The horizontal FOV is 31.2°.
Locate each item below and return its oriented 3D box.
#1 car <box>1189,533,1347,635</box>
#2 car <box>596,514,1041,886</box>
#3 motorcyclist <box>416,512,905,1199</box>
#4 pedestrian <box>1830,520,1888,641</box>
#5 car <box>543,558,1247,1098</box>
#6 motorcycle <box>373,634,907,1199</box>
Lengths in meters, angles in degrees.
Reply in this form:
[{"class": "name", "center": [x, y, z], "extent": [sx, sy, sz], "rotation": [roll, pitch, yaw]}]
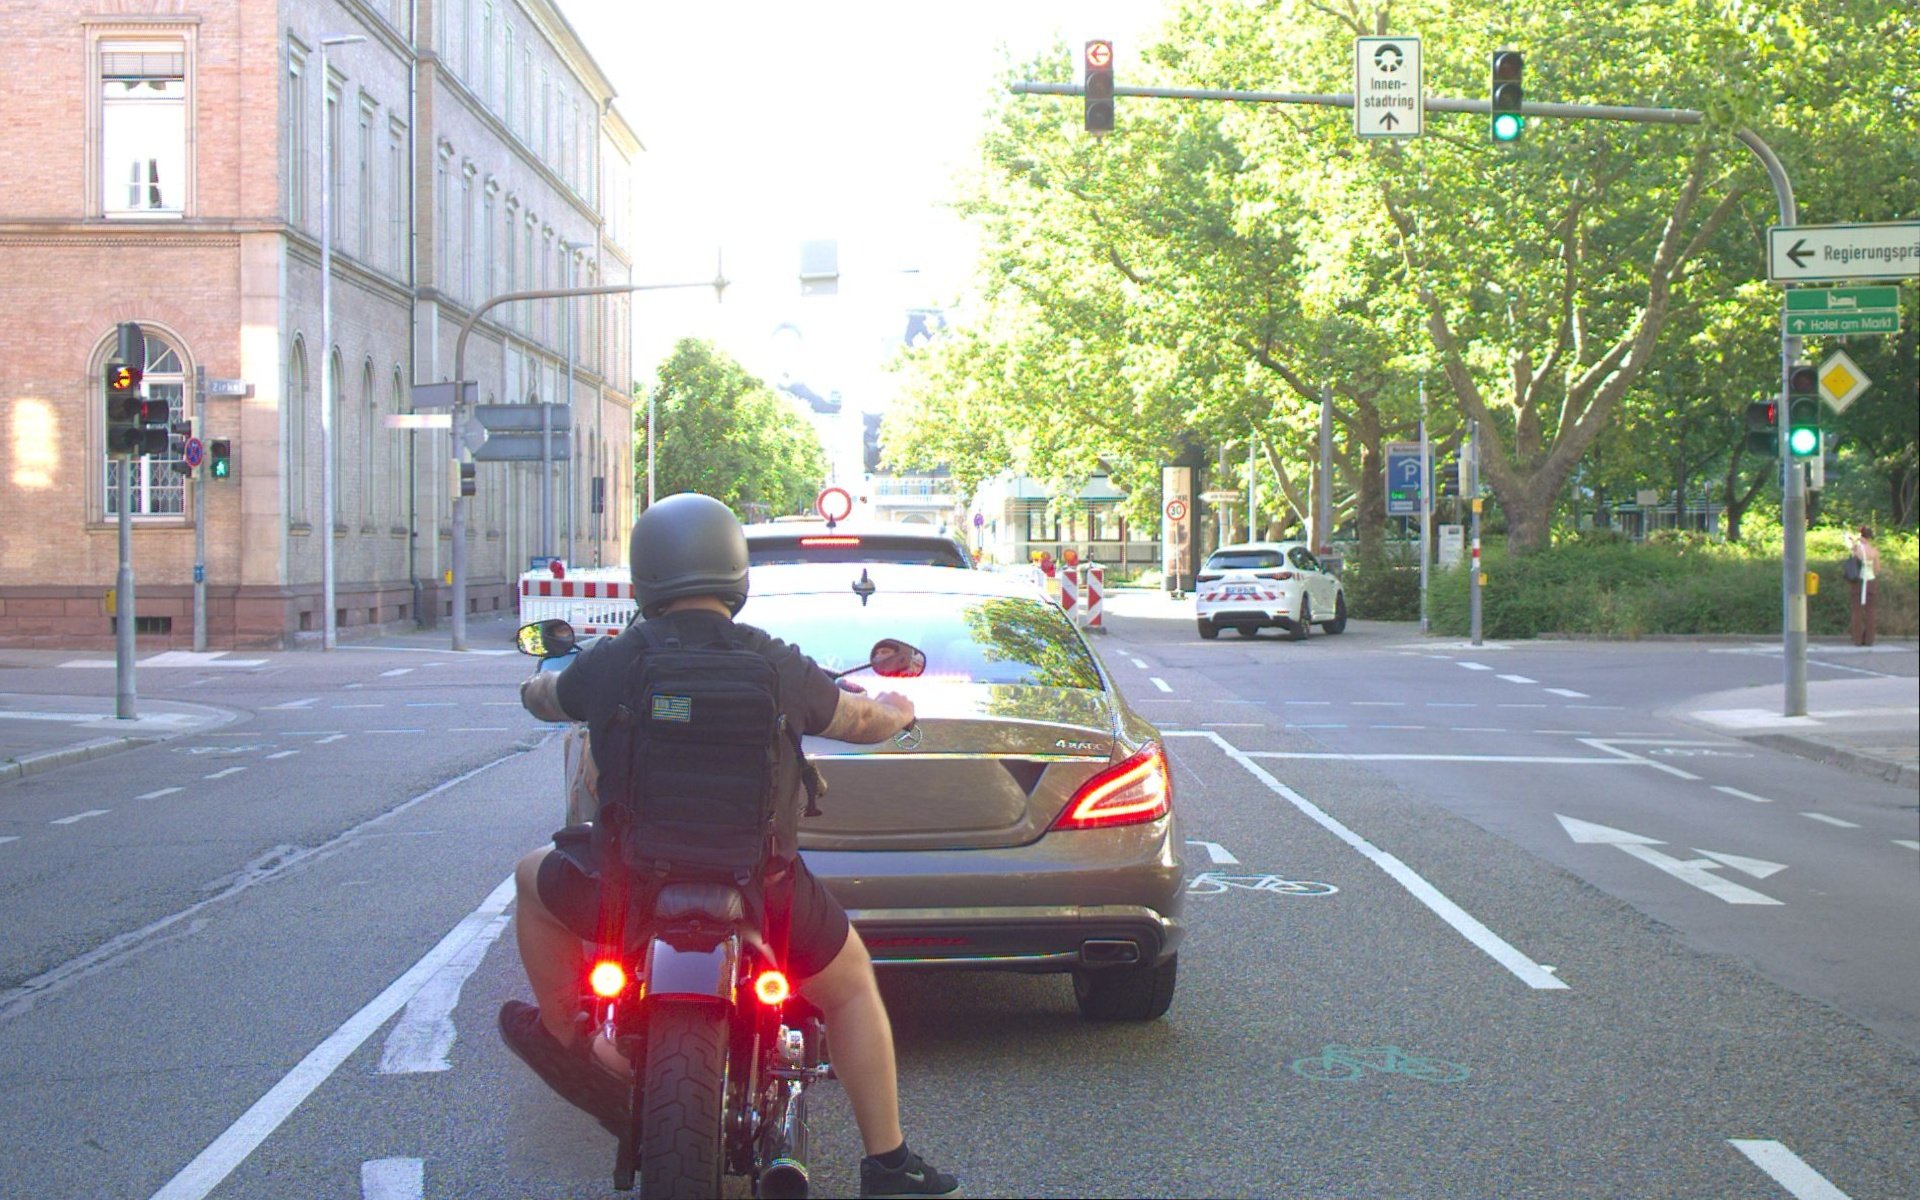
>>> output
[{"class": "car", "center": [5.561, -0.313, 61.557], "extent": [1.944, 1.702, 4.480], "rotation": [2, 1, 16]}, {"class": "car", "center": [-0.665, 0.434, 17.570], "extent": [1.993, 1.660, 4.000], "rotation": [1, 1, -1]}, {"class": "motorcyclist", "center": [-0.614, 0.598, 7.567], "extent": [0.980, 1.573, 1.248], "rotation": [0, 1, -1]}, {"class": "pedestrian", "center": [13.231, -0.290, 50.590], "extent": [0.678, 1.766, 0.616], "rotation": [1, 0, 29]}, {"class": "car", "center": [-0.431, 0.591, 11.648], "extent": [1.869, 1.439, 4.431], "rotation": [0, 1, -8]}, {"class": "motorcycle", "center": [-0.612, 0.744, 7.590], "extent": [0.980, 1.271, 2.407], "rotation": [0, 1, -1]}]
